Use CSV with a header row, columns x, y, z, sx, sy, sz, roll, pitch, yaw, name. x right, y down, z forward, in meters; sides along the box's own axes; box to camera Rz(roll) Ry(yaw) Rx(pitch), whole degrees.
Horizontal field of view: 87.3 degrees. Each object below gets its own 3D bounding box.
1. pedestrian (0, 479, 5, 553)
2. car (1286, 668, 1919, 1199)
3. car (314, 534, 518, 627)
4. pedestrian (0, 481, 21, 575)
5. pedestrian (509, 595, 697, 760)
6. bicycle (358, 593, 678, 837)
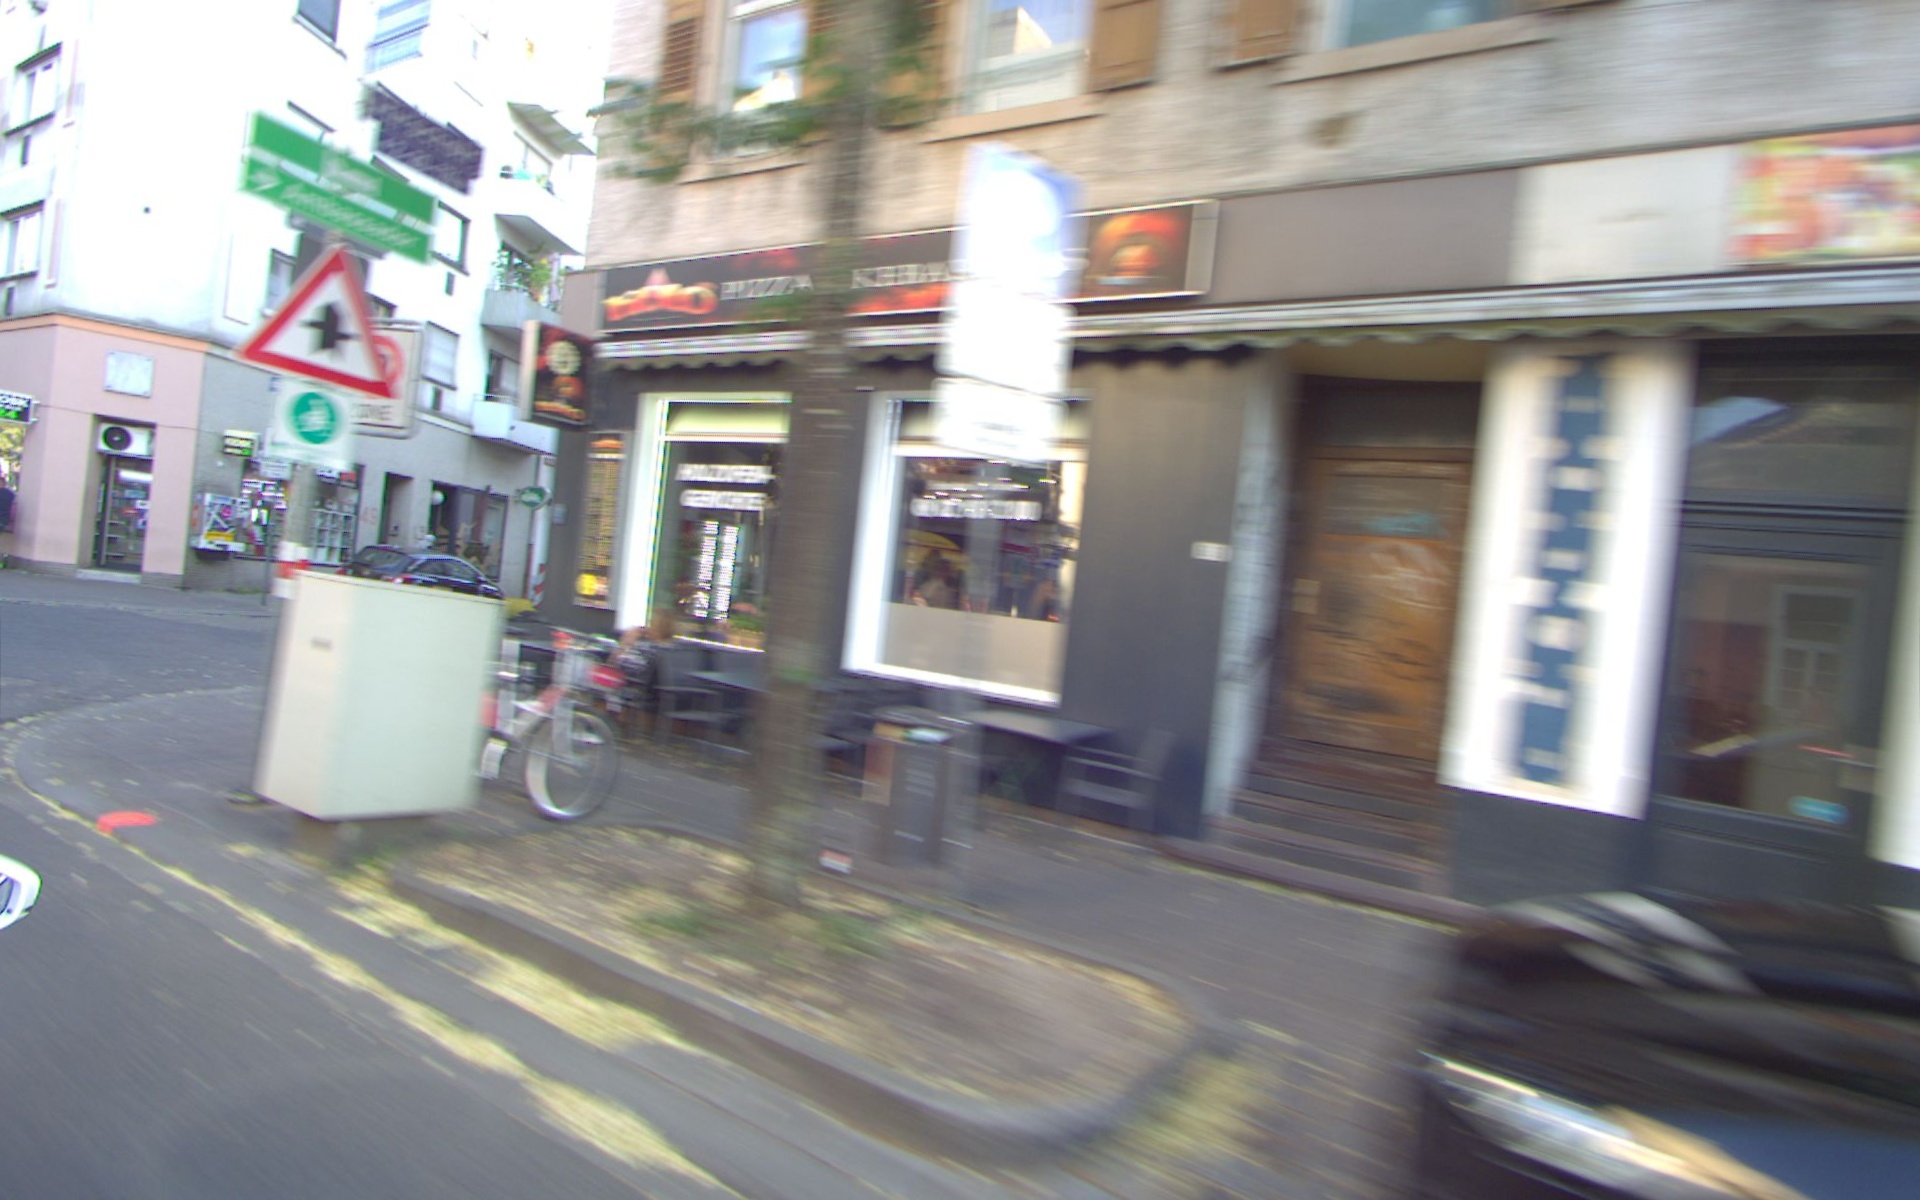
x,y,z,sx,sy,sz,roll,pitch,yaw,name
-17.594,-1.404,17.966,0.652,1.620,0.567,8,3,32,pedestrian
2.978,1.109,1.499,4.448,1.394,1.785,6,2,31,car
-11.207,-0.325,21.042,1.755,1.506,3.678,9,-1,8,car
-16.958,-1.287,17.580,0.652,1.605,0.567,8,3,32,pedestrian
-2.892,0.593,8.141,1.339,1.156,0.682,5,1,32,pedestrian
-2.685,0.614,6.047,1.868,1.126,0.778,6,1,32,bicycle
